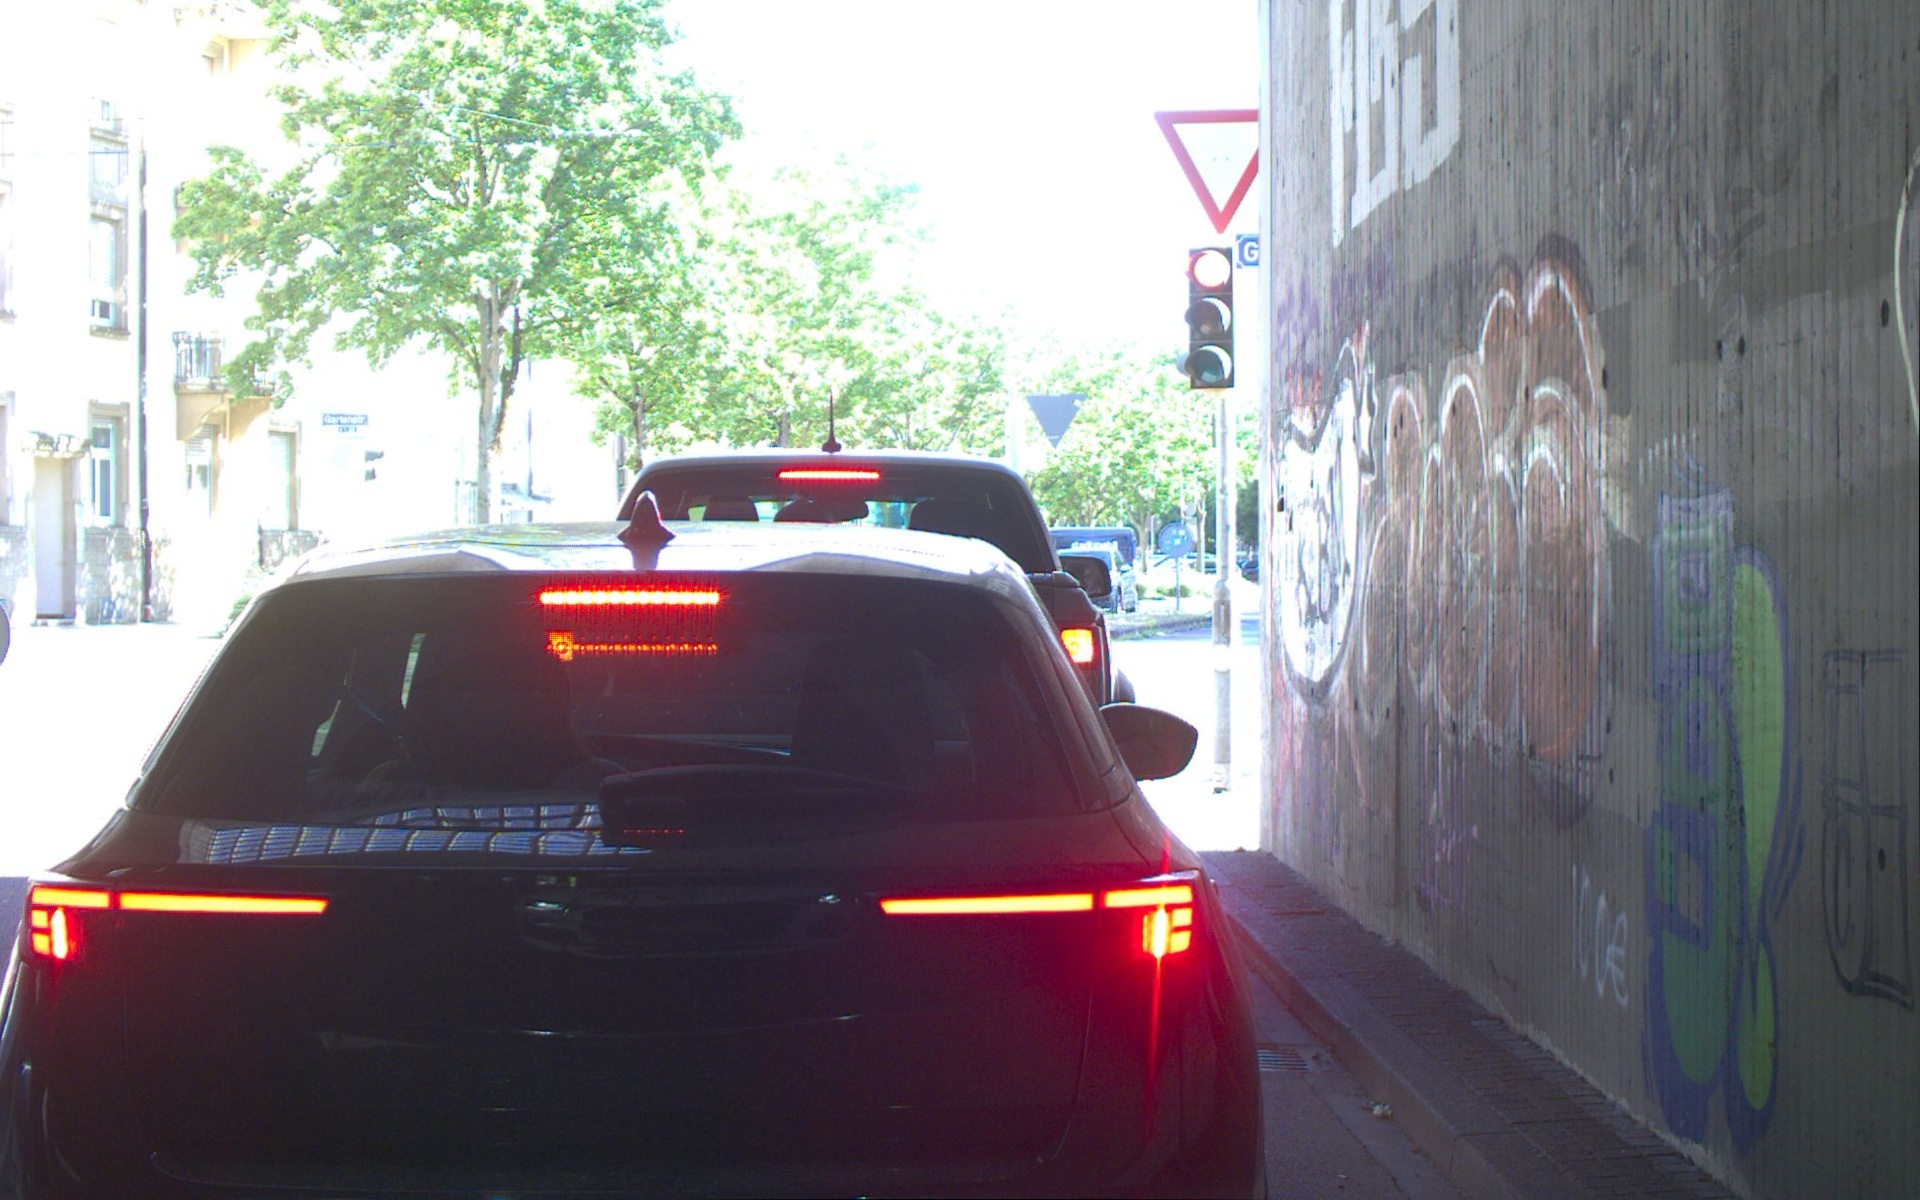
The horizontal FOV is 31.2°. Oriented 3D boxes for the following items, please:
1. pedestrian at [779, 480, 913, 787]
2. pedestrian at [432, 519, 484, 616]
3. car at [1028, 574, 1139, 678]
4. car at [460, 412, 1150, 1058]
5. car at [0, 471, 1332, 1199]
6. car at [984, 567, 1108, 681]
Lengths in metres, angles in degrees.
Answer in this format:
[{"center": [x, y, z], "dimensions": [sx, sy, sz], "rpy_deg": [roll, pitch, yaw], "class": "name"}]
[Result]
[{"center": [-0.652, 0.186, 19.914], "dimensions": [0.731, 1.728, 0.874], "rpy_deg": [1, 0, -1], "class": "pedestrian"}, {"center": [-10.836, -0.697, 74.227], "dimensions": [0.892, 2.080, 0.808], "rpy_deg": [1, 0, 7], "class": "pedestrian"}, {"center": [2.494, 0.484, 68.548], "dimensions": [1.994, 1.963, 4.163], "rpy_deg": [1, 1, 5], "class": "car"}, {"center": [-0.470, 0.355, 11.995], "dimensions": [1.993, 1.865, 4.000], "rpy_deg": [0, 1, -1], "class": "car"}, {"center": [-0.485, 0.572, 5.992], "dimensions": [1.764, 1.566, 4.001], "rpy_deg": [1, 2, -1], "class": "car"}, {"center": [1.595, 0.406, 62.345], "dimensions": [1.994, 1.963, 4.163], "rpy_deg": [1, 1, 5], "class": "car"}]
